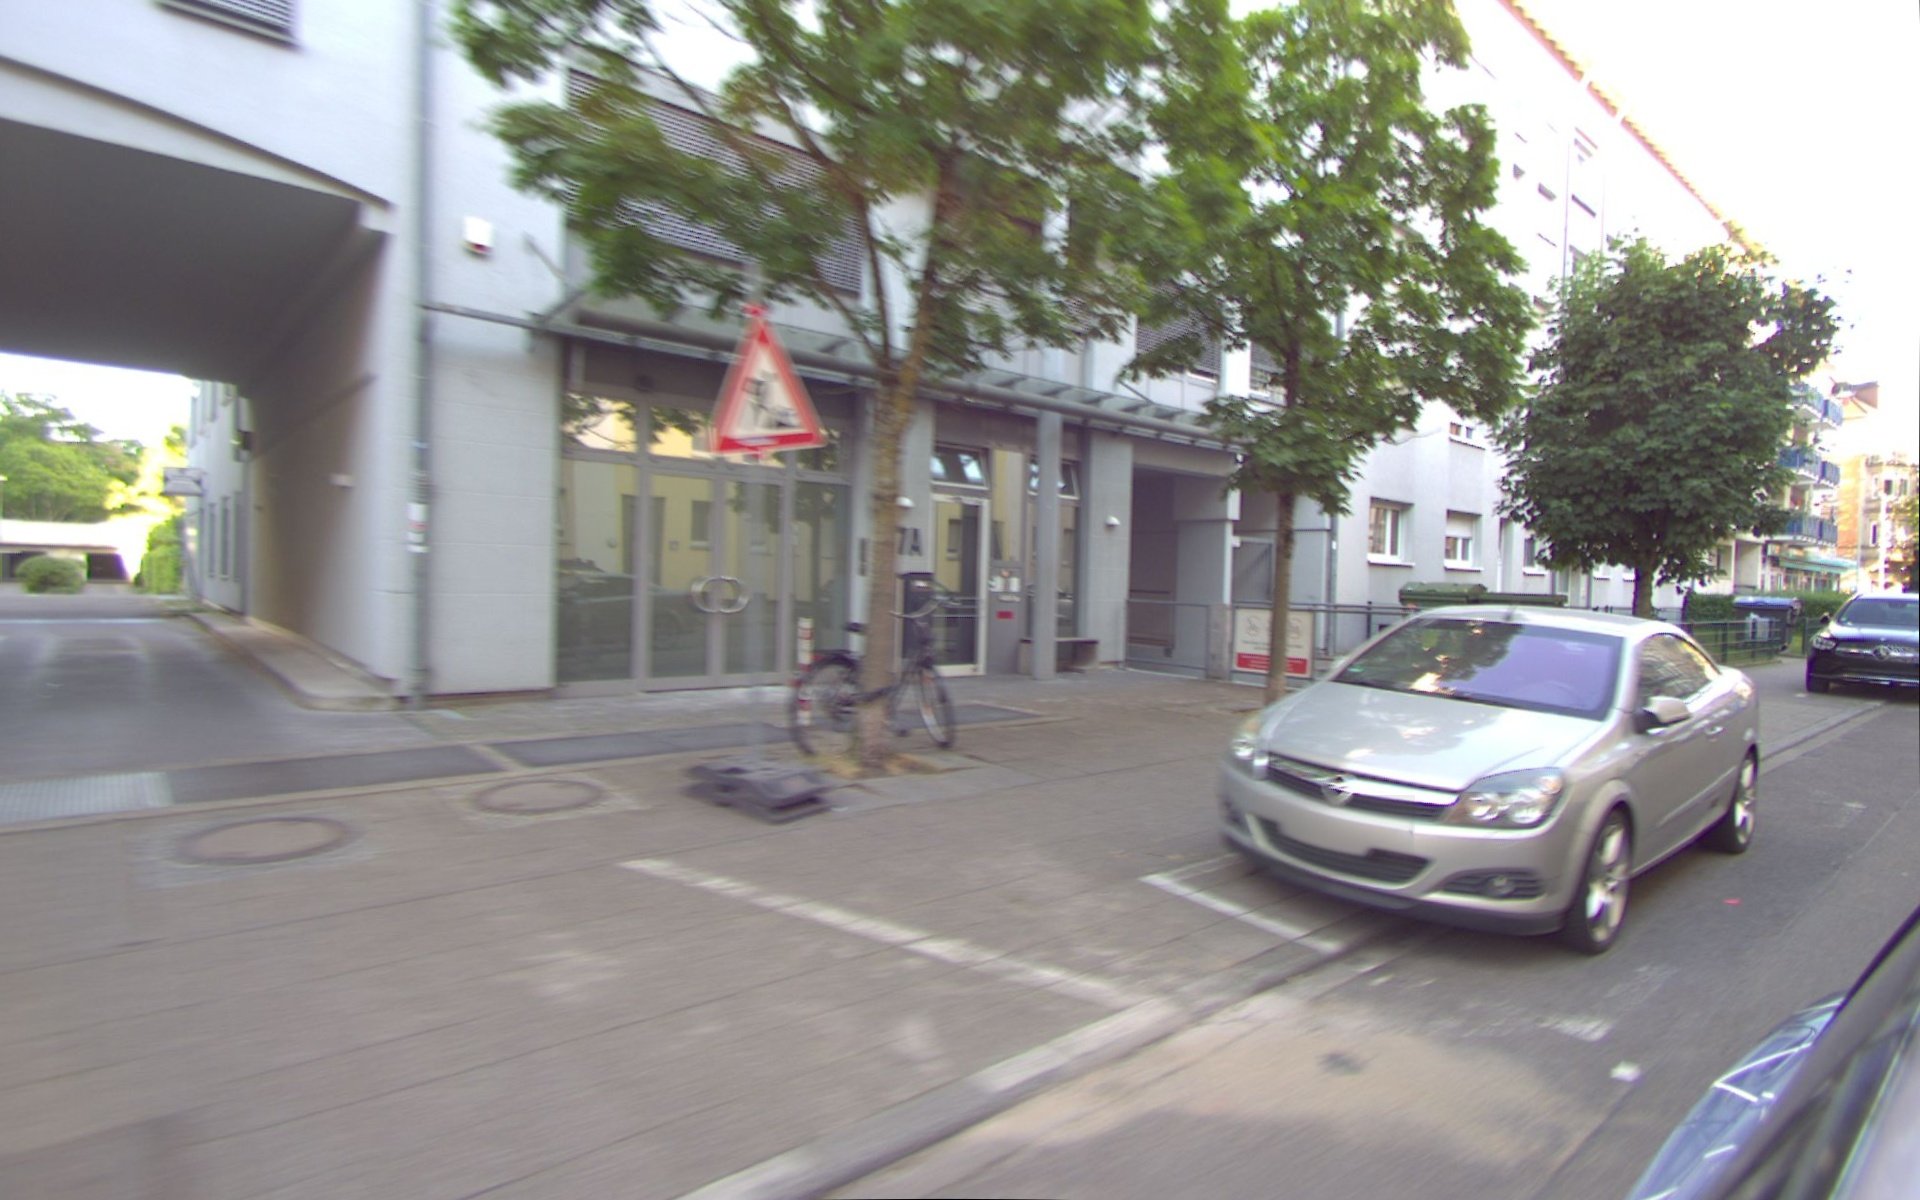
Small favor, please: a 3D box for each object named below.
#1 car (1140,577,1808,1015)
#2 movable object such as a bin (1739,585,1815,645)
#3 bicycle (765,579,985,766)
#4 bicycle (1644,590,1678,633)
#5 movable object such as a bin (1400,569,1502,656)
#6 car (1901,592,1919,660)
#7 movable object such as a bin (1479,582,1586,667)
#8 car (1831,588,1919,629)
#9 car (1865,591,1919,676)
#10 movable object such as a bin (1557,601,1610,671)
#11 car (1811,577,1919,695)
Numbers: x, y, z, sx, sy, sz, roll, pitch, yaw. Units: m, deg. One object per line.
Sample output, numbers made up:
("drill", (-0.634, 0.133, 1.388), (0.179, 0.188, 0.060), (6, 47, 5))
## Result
("car", (3.074, 0.668, 5.592), (4.269, 1.446, 1.767), (0, 4, -41))
("movable object such as a bin", (21.116, 0.366, 26.171), (1.202, 1.454, 1.287), (0, 3, -41))
("bicycle", (-0.562, 0.453, 7.331), (0.519, 1.182, 1.716), (4, 3, 38))
("bicycle", (19.385, 0.296, 27.985), (0.599, 1.104, 1.716), (4, 3, 38))
("movable object such as a bin", (8.892, 0.204, 18.337), (1.119, 1.454, 1.264), (0, 3, -41))
("car", (23.222, 0.638, 23.325), (3.586, 1.501, 1.681), (0, 3, -39))
("movable object such as a bin", (9.885, 0.396, 17.481), (1.119, 1.337, 1.264), (0, 3, -41))
("car", (41.607, 0.388, 45.082), (1.966, 1.584, 3.994), (0, 4, -42))
("car", (19.022, 0.639, 19.627), (3.588, 1.501, 1.680), (0, 3, -41))
("movable object such as a bin", (10.214, 0.579, 16.571), (0.614, 1.084, 0.529), (0, 3, -41))
("car", (15.472, 0.528, 16.440), (4.642, 1.655, 1.874), (0, 4, -43))
